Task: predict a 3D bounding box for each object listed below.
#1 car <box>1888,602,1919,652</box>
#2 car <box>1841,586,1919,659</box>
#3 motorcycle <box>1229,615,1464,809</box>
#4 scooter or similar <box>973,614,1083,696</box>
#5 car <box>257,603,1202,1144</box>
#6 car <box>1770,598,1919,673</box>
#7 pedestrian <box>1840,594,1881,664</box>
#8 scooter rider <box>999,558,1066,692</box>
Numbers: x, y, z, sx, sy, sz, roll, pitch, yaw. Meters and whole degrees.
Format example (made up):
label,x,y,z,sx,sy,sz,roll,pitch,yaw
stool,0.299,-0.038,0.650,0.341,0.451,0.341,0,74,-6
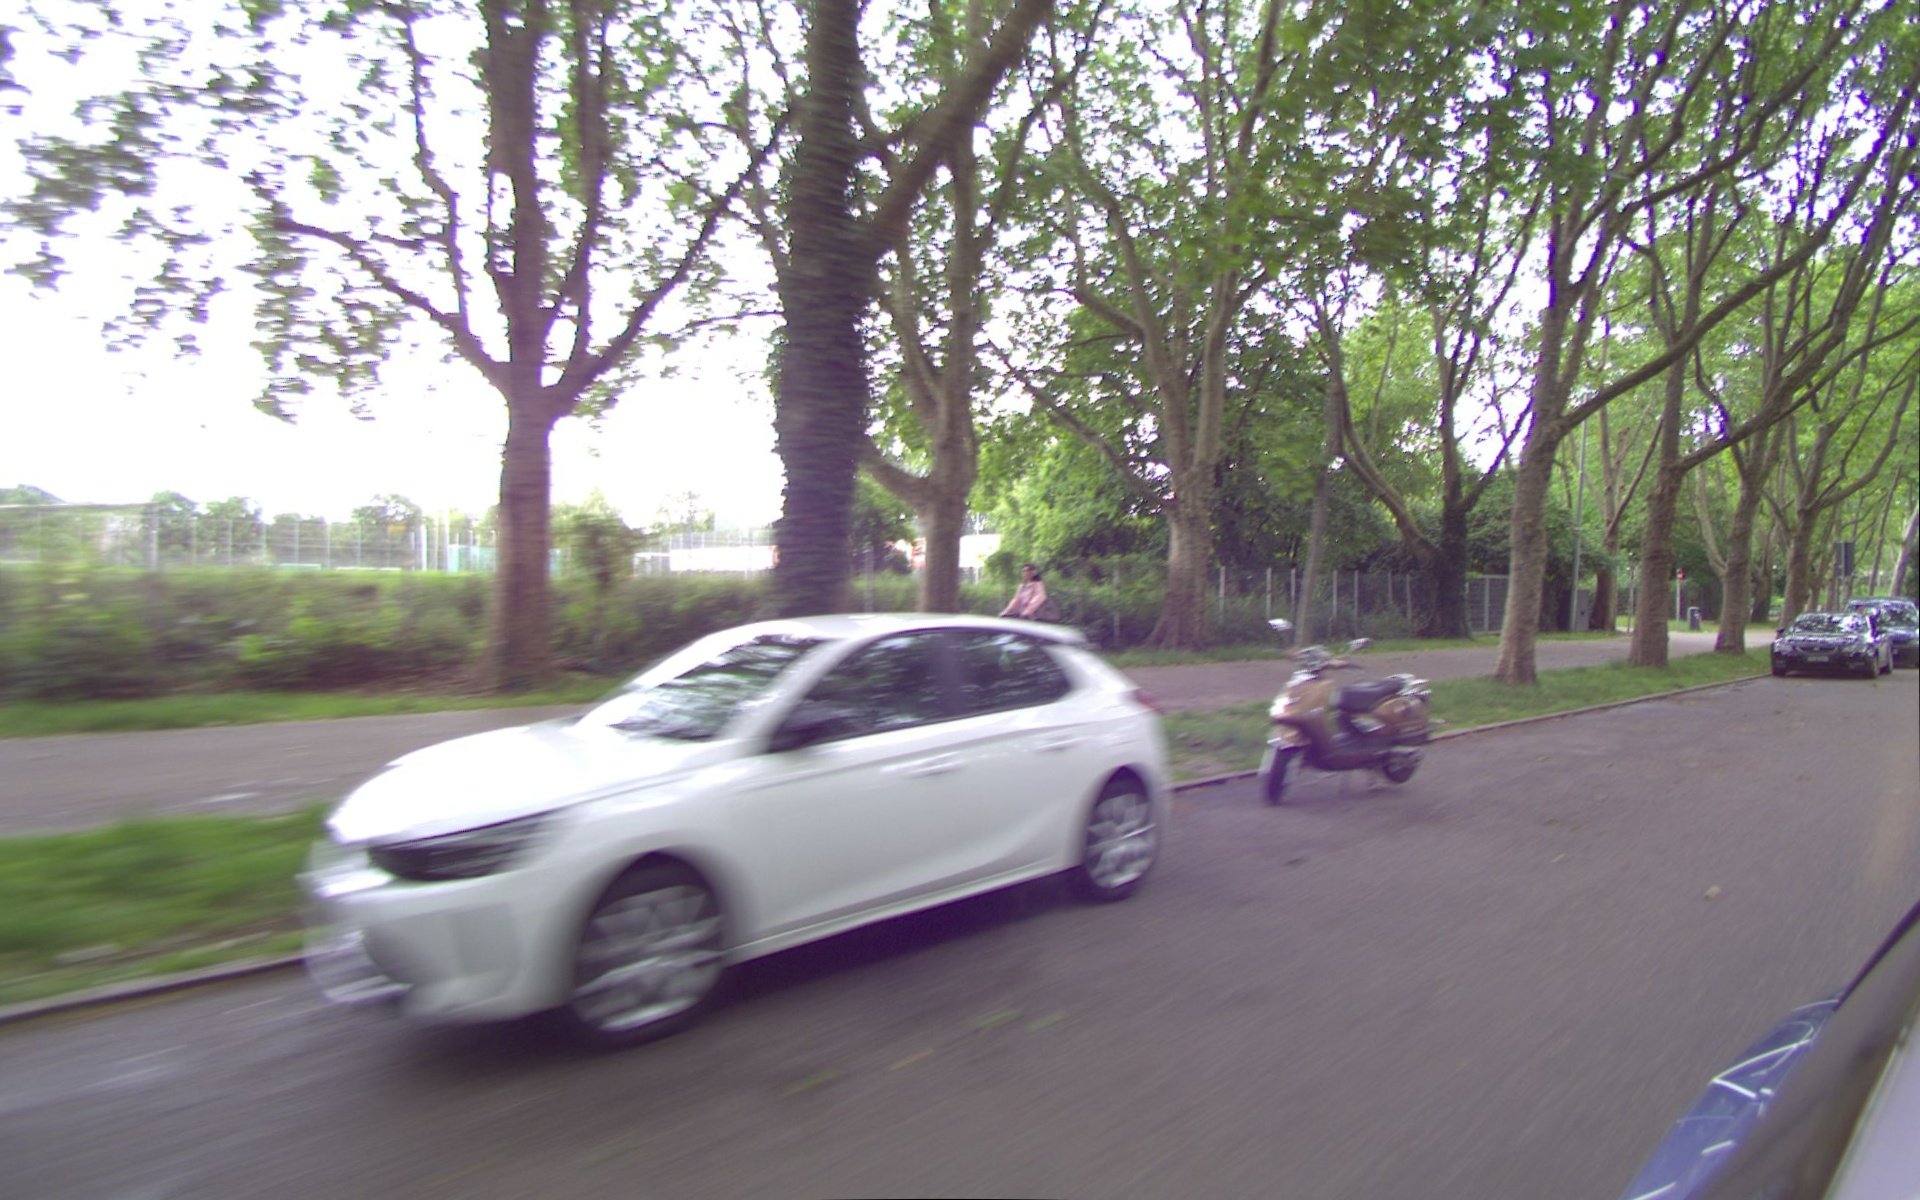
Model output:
label,x,y,z,sx,sy,sz,roll,pitch,yaw
car,30.265,0.817,31.388,3.875,1.480,1.622,1,-2,-40
car,24.729,0.594,26.921,1.839,1.806,4.381,-2,-2,40
motorcycle,3.066,0.800,7.958,1.953,1.348,0.715,0,0,-33
scooter or similar,0.971,0.743,14.223,1.441,1.050,0.682,0,3,-41
car,-0.756,0.756,4.800,4.052,1.456,1.737,0,0,-42
car,19.761,0.729,22.503,4.295,1.497,1.996,0,-1,-41
pedestrian,21.831,0.692,24.536,0.729,1.647,0.634,1,0,-41
scooter rider,1.013,0.334,14.241,0.577,1.822,0.678,1,2,-40
